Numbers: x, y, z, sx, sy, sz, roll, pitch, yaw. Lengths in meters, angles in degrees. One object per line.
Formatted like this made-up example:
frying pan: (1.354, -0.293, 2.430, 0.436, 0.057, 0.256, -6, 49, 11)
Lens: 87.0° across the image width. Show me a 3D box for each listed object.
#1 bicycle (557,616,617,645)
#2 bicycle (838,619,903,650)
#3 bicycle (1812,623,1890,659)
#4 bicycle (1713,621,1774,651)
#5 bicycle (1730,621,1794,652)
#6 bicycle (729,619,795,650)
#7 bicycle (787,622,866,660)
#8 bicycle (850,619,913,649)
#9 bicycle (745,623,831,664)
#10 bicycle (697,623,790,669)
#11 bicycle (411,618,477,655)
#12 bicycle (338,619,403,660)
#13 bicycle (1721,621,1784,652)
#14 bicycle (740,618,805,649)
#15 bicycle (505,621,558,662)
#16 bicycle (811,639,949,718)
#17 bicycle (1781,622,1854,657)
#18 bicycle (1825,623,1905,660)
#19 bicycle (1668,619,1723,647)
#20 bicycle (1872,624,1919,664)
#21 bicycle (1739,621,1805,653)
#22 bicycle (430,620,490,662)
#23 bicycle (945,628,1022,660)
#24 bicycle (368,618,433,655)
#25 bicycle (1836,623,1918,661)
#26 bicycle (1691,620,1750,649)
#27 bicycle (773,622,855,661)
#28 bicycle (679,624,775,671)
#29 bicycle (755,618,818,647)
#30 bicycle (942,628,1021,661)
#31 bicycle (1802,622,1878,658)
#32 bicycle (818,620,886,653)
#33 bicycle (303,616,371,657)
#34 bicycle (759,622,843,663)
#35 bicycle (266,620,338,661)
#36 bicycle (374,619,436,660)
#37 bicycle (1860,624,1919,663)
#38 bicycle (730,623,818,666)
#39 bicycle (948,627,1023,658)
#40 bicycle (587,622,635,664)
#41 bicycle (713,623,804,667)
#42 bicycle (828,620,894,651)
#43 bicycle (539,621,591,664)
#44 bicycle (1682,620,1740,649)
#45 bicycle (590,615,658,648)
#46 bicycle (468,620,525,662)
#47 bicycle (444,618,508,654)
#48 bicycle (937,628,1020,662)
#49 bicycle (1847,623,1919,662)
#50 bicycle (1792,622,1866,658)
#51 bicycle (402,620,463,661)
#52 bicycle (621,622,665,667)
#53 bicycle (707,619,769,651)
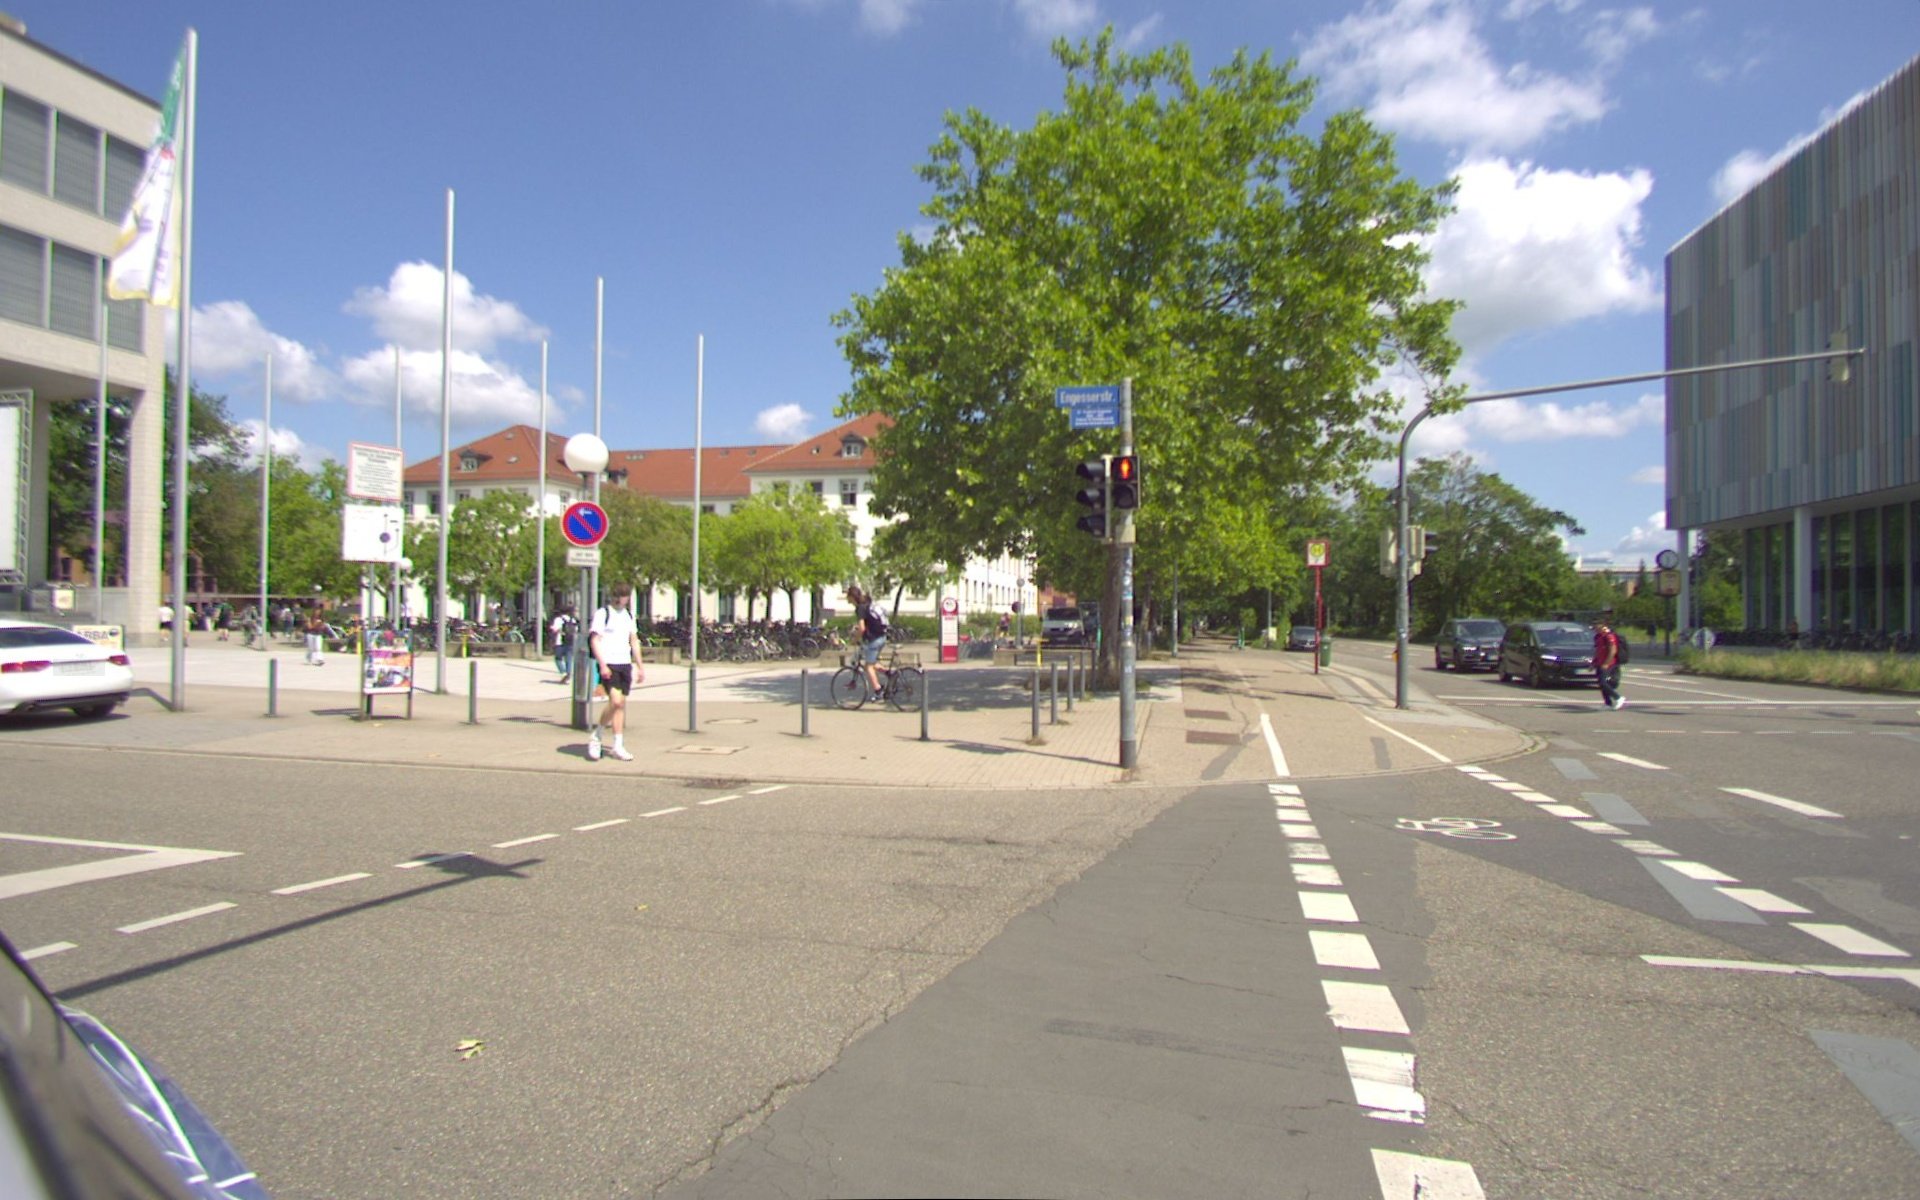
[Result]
bicycle: (-19.477, 1.589, 52.854, 2.930, 1.422, 1.140, 0, -1, 21)
bicycle: (-4.295, 1.662, 48.564, 2.927, 1.422, 1.059, 0, -1, 18)
bicycle: (46.740, 2.135, 53.105, 2.924, 1.852, 0.957, 0, -1, 16)
bicycle: (49.460, 2.245, 63.923, 2.922, 1.852, 0.958, 0, -1, 14)
bicycle: (48.969, 2.224, 61.826, 2.922, 1.852, 0.958, 0, -1, 14)
bicycle: (-9.434, 1.624, 48.359, 2.921, 1.422, 1.061, 0, -1, 12)
bicycle: (-5.252, 1.582, 39.778, 2.927, 1.422, 1.059, 0, -1, 18)
bicycle: (-3.876, 1.676, 49.872, 2.927, 1.422, 1.059, 0, -1, 18)
bicycle: (-6.213, 1.549, 36.575, 2.927, 1.422, 1.059, 0, -1, 18)
bicycle: (-7.173, 1.514, 33.545, 2.927, 1.427, 1.011, 0, -1, 18)
bicycle: (-21.117, 1.482, 41.383, 2.944, 1.422, 1.134, 0, -1, 35)
bicycle: (-21.879, 1.445, 37.660, 1.129, 1.422, 2.957, 0, -1, -10)
bicycle: (49.192, 2.234, 62.837, 2.922, 1.852, 0.958, 0, -1, 14)
bicycle: (-9.191, 1.636, 49.617, 2.921, 1.422, 1.061, 0, -1, 12)
bicycle: (-15.675, 1.485, 37.094, 1.129, 1.422, 2.957, 0, -1, -10)
bicycle: (-1.251, 1.201, 15.828, 2.013, 1.130, 0.767, -1, 0, 23)
bicycle: (47.539, 2.166, 56.117, 2.924, 1.852, 0.958, 0, -1, 16)
bicycle: (46.488, 2.124, 52.011, 2.925, 1.852, 0.957, 0, -1, 17)
bicycle: (50.737, 2.289, 69.850, 2.922, 1.852, 0.958, 0, -1, 14)
bicycle: (45.350, 2.083, 48.018, 2.924, 1.852, 0.957, 0, -1, 16)
bicycle: (48.717, 2.213, 60.774, 2.922, 1.852, 0.985, 0, -1, 14)
bicycle: (-18.059, 1.464, 36.628, 1.129, 1.422, 2.957, 0, -1, -10)
bicycle: (0.919, 1.677, 38.941, 2.915, 1.146, 0.999, 0, -1, 6)
bicycle: (-22.663, 1.467, 40.971, 2.944, 1.422, 1.134, 0, -1, 35)
bicycle: (46.179, 2.114, 50.995, 2.925, 1.852, 0.957, 0, -1, 17)
bicycle: (50.040, 2.272, 66.641, 2.922, 1.852, 0.958, 0, -1, 14)
bicycle: (-5.580, 1.571, 38.698, 2.927, 1.422, 1.059, 0, -1, 18)
bicycle: (-7.482, 1.502, 32.530, 2.927, 1.430, 1.011, 0, -1, 18)
bicycle: (-8.838, 1.655, 51.642, 2.921, 1.422, 1.209, 0, -1, 12)
bicycle: (0.822, 1.662, 37.863, 2.915, 1.156, 0.999, 0, -1, 6)
bicycle: (47.044, 2.146, 54.127, 2.924, 1.852, 0.957, 0, -1, 16)
bicycle: (-4.935, 1.638, 46.161, 2.927, 1.422, 1.059, 0, -1, 18)
bicycle: (-23.030, 1.322, 37.486, 1.129, 1.422, 2.957, 0, -1, -10)
bicycle: (-5.907, 1.560, 37.639, 2.927, 1.422, 1.059, 0, -1, 18)
bicycle: (-24.194, 1.454, 37.284, 1.129, 1.422, 2.957, 0, -1, -10)
bicycle: (-20.696, 1.455, 37.822, 1.129, 1.422, 2.957, 0, -1, -10)
bicycle: (45.635, 2.093, 49.013, 2.925, 1.852, 0.957, 0, -1, 17)
bicycle: (-6.528, 1.538, 35.567, 2.927, 1.422, 1.011, 0, -1, 18)
bicycle: (1.022, 1.668, 40.144, 2.914, 1.158, 1.000, 0, -1, 5)
bicycle: (-12.391, 1.499, 35.999, 1.129, 1.422, 2.957, 0, -1, -10)
bicycle: (-6.874, 1.527, 34.558, 2.927, 1.422, 1.011, 0, -1, 18)
bicycle: (-4.625, 1.650, 47.403, 2.927, 1.422, 1.059, 0, -1, 18)
bicycle: (-14.059, 1.488, 36.119, 1.129, 1.422, 2.957, 0, -1, -10)
bicycle: (50.288, 2.283, 67.801, 2.922, 1.852, 0.958, 0, -1, 14)
bicycle: (-15.061, 1.389, 45.364, 2.933, 1.422, 1.057, 0, -1, 24)
bicycle: (-16.863, 1.475, 36.910, 1.129, 1.422, 2.957, 0, -1, -10)
bicycle: (-20.238, 1.495, 42.276, 2.944, 1.422, 1.134, 0, -1, 35)
bicycle: (0.694, 1.625, 36.462, 2.915, 1.156, 0.999, 0, -1, 6)
bicycle: (45.900, 2.103, 50.003, 2.925, 1.852, 0.957, 0, -1, 17)
bicycle: (47.299, 2.156, 55.131, 2.924, 1.852, 0.958, 0, -1, 16)
bicycle: (-19.390, 1.460, 37.290, 1.129, 1.422, 2.957, 0, -1, -10)
bicycle: (-10.867, 1.501, 34.811, 1.048, 1.422, 2.957, 0, -1, -10)
bicycle: (-10.282, 1.605, 46.826, 2.941, 1.422, 1.054, 0, -1, 32)
